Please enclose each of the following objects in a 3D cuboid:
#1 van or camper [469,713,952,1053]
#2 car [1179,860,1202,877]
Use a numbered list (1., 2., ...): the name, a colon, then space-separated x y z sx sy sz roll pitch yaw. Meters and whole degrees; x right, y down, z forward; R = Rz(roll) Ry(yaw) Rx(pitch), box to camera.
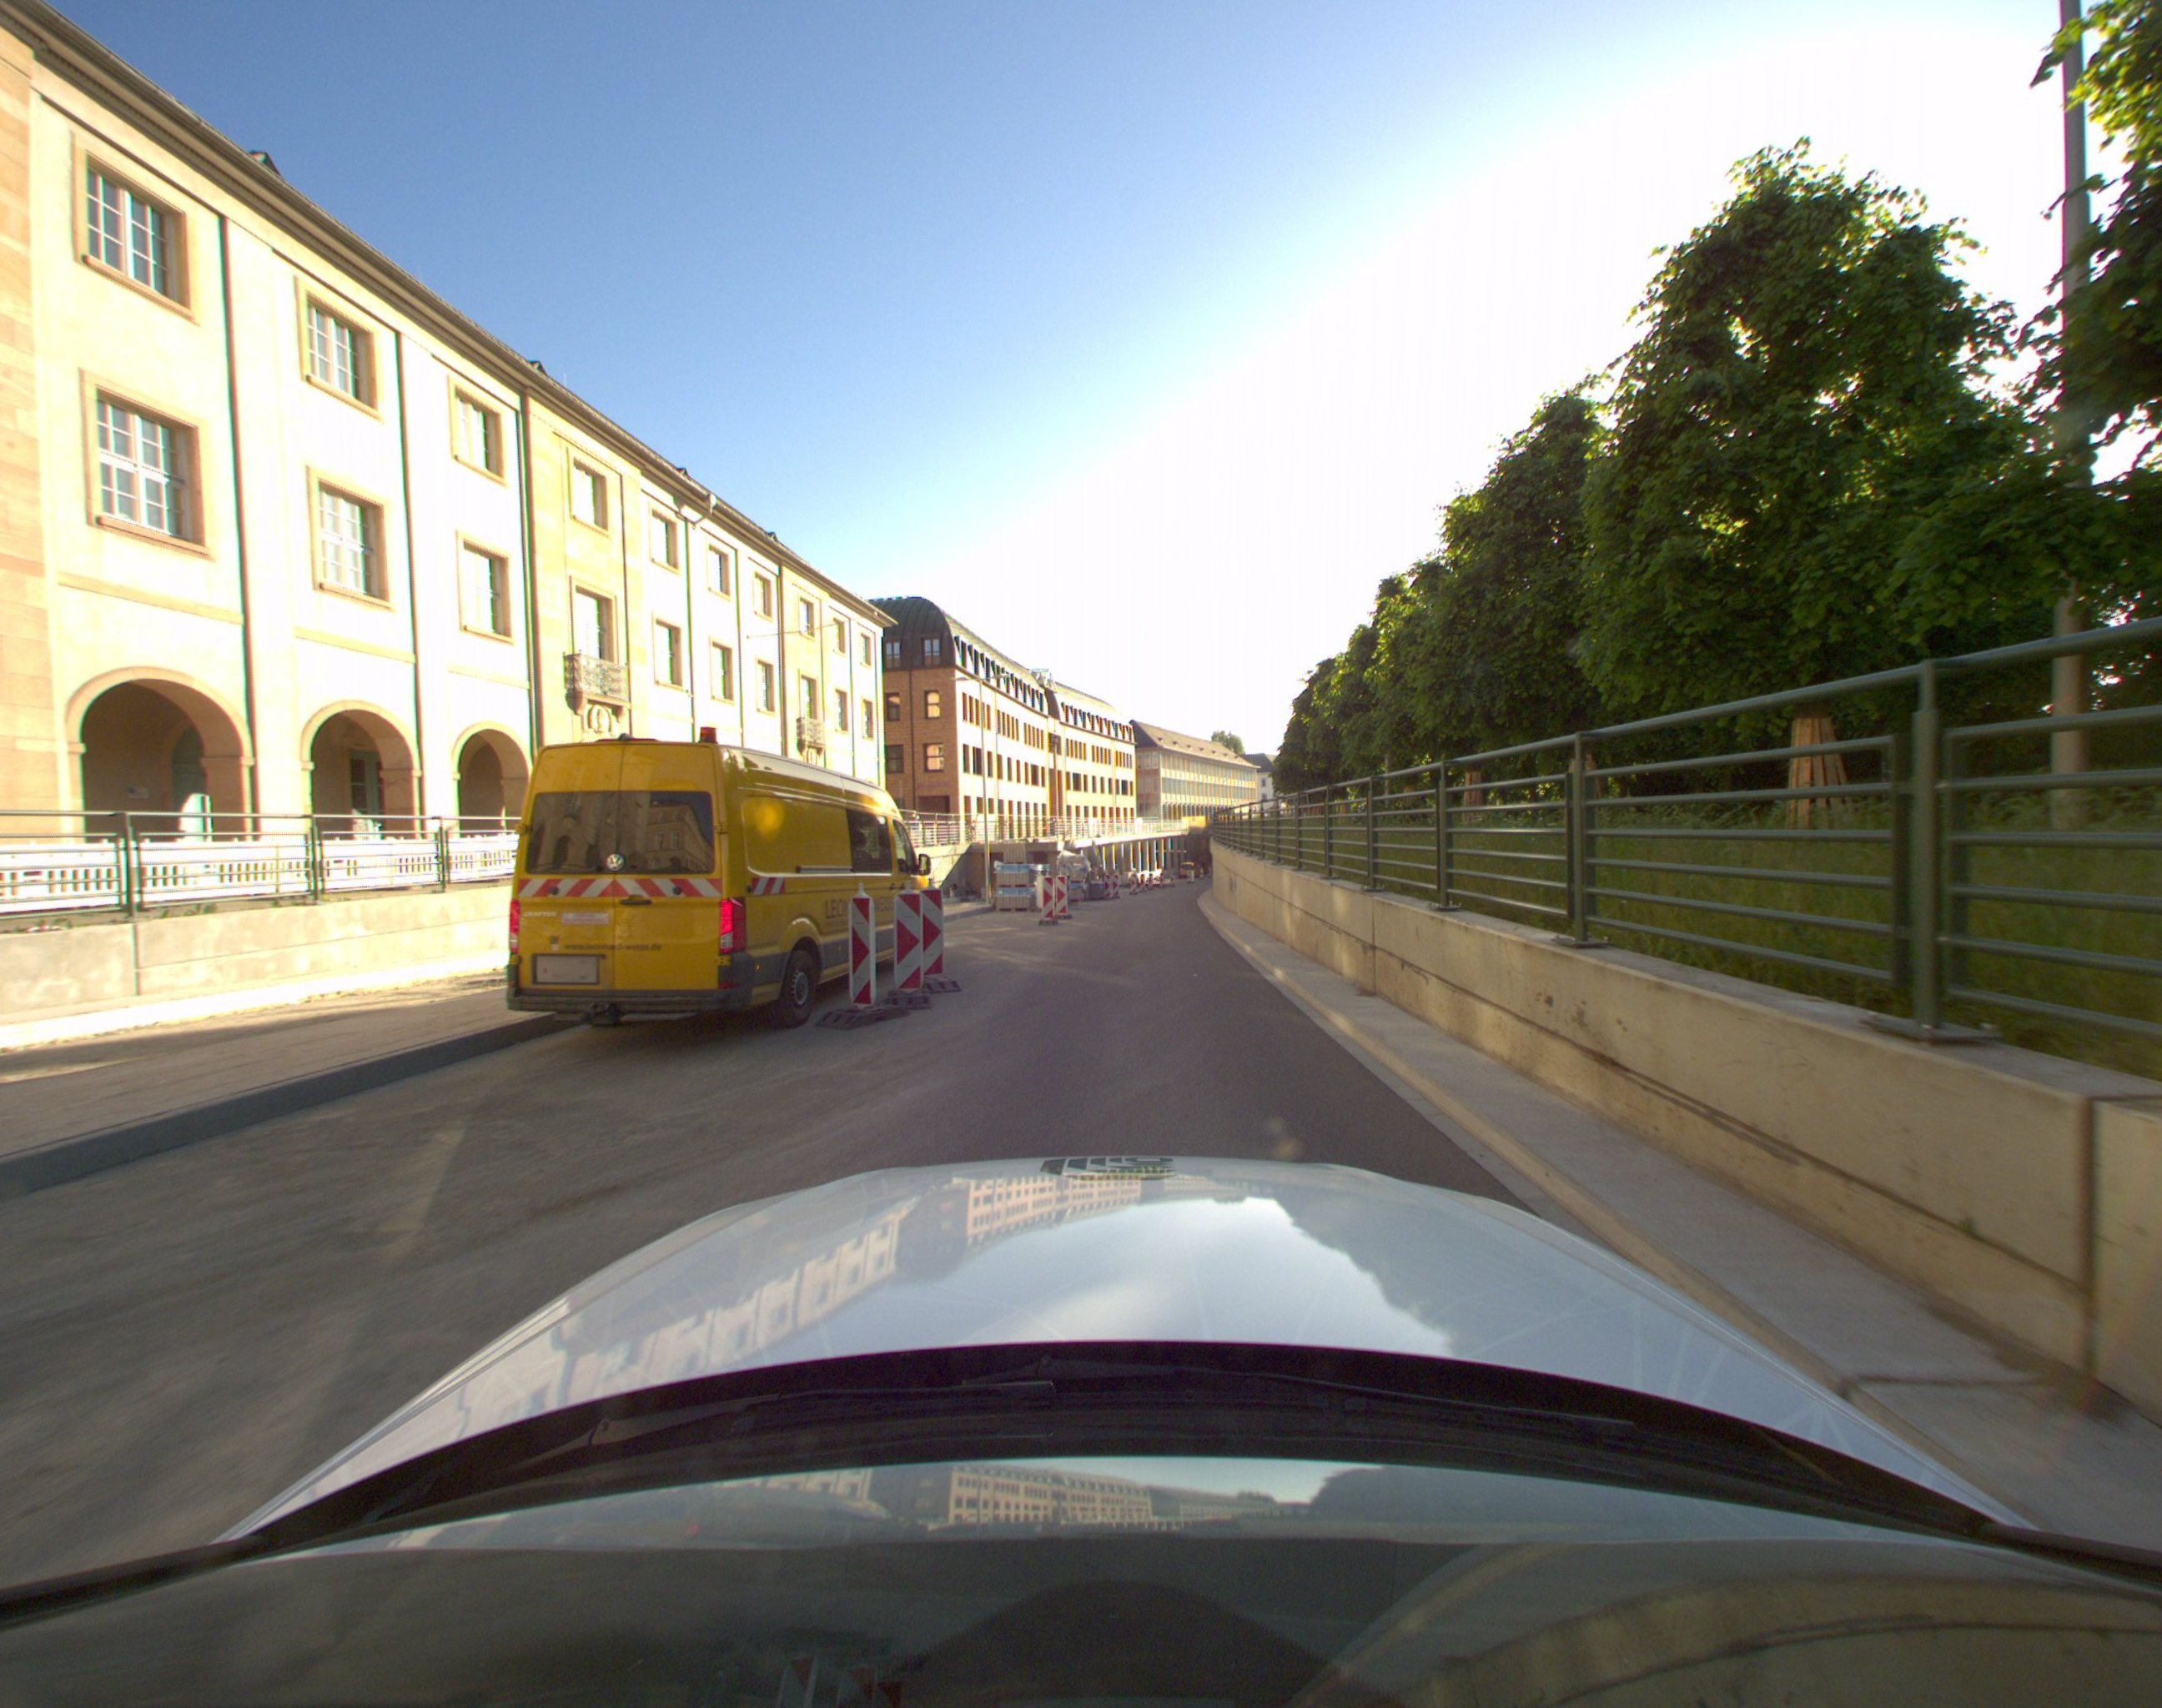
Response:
1. van or camper: -3.437 0.247 9.744 2.184 2.612 6.832 1 -1 4
2. car: 12.756 1.715 94.669 1.833 1.775 4.455 0 1 18
